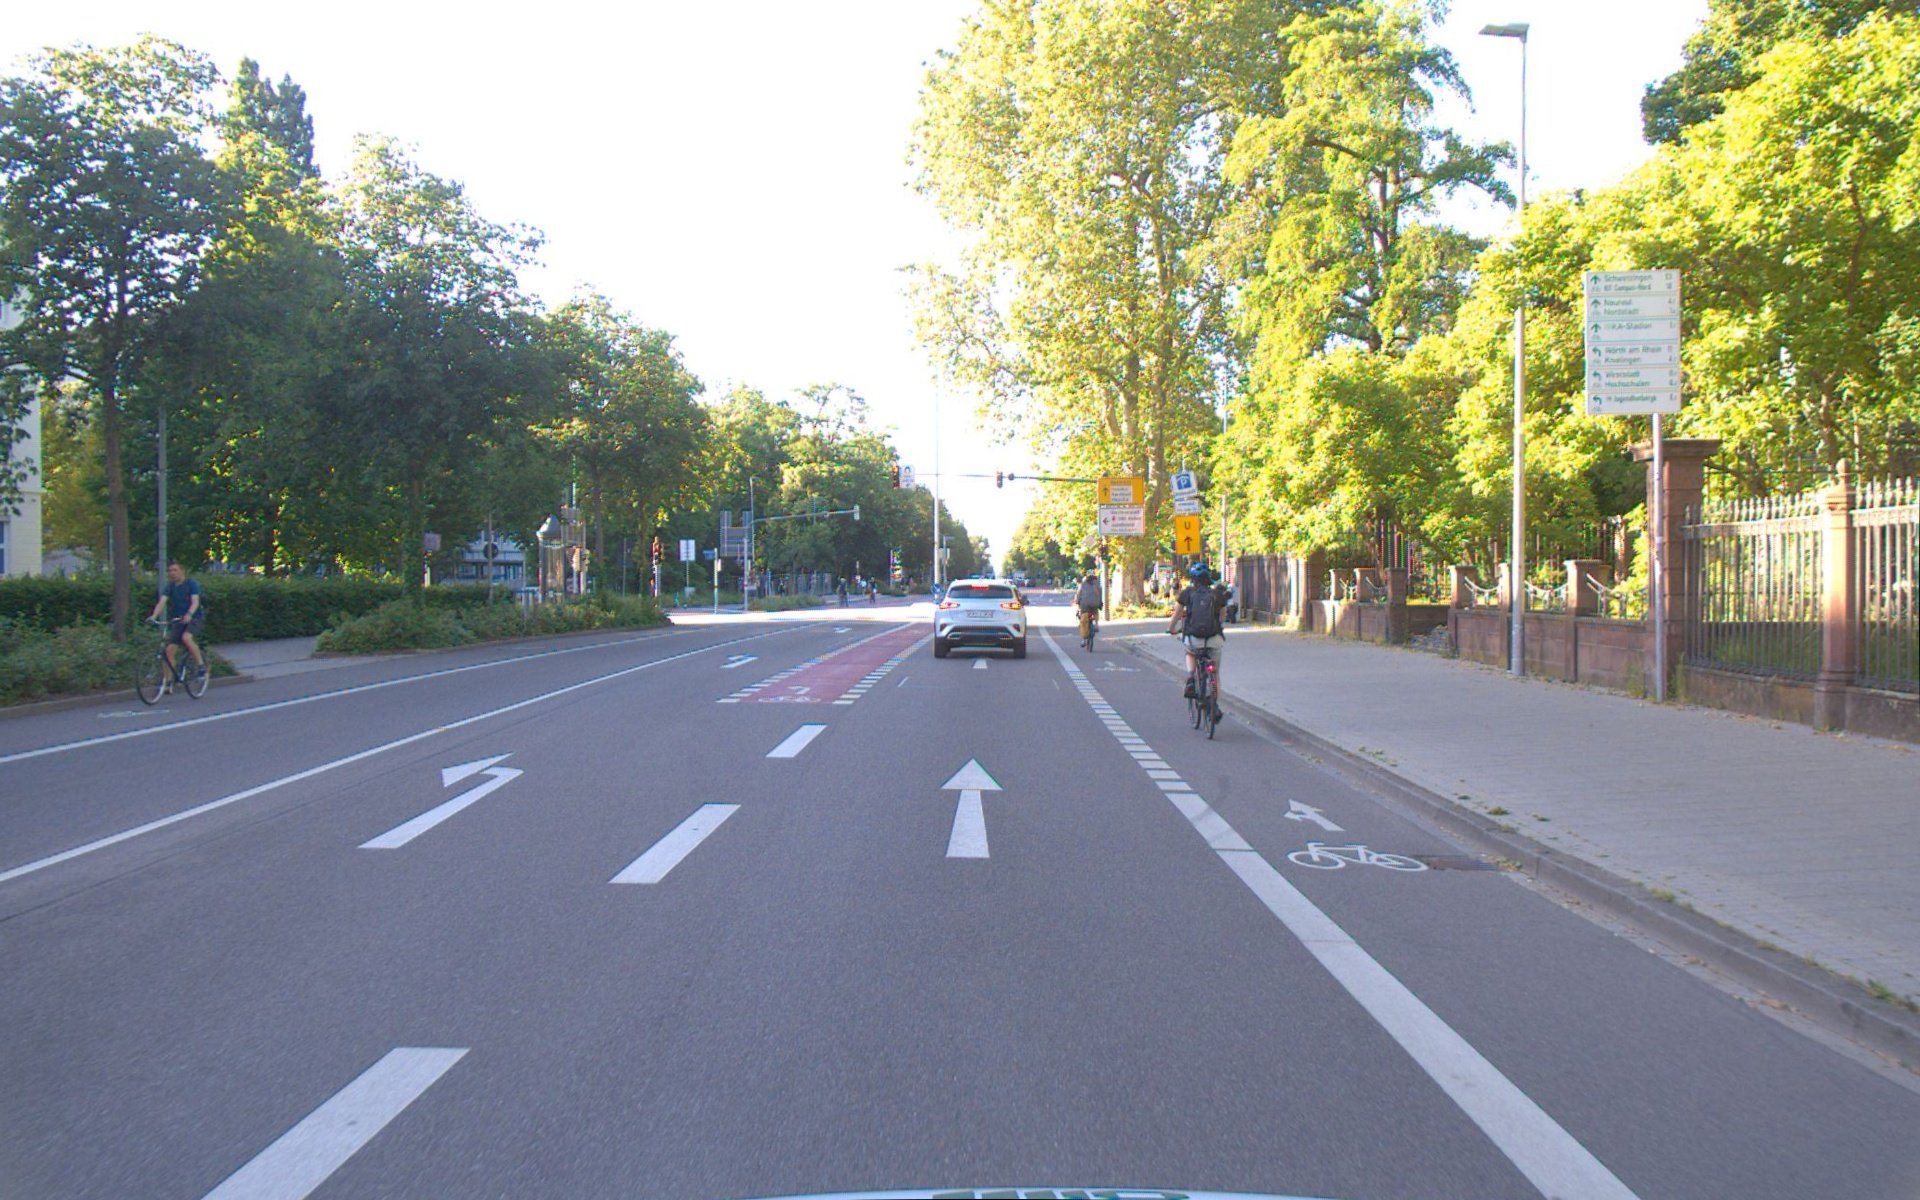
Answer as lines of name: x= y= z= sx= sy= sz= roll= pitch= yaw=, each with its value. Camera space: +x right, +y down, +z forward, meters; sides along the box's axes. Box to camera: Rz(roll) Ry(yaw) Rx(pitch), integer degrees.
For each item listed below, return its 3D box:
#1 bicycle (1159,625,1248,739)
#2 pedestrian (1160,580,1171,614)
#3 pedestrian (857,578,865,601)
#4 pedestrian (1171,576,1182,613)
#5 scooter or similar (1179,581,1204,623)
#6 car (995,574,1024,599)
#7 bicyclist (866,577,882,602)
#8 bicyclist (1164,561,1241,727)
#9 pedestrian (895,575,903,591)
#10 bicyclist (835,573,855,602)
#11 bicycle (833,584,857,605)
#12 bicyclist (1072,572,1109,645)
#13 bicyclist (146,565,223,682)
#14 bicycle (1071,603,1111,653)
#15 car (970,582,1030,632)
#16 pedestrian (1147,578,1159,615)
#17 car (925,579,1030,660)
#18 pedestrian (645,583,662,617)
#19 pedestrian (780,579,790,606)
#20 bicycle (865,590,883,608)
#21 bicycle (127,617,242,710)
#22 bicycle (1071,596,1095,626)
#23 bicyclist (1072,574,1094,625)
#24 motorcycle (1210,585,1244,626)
bicycle: x=2.501 y=0.818 z=17.195 sx=0.630 sy=1.042 sz=2.213 roll=1 pitch=1 yaw=1
pedestrian: x=10.571 y=-0.165 z=85.019 sx=0.472 sy=1.668 sz=0.432 roll=-4 pitch=3 yaw=8
pedestrian: x=-8.857 y=-0.969 z=147.903 sx=0.643 sy=2.049 sz=0.832 roll=-1 pitch=0 yaw=-1
pedestrian: x=11.208 y=-0.286 z=85.603 sx=0.472 sy=1.823 sz=0.432 roll=-3 pitch=4 yaw=8
scooter or similar: x=8.028 y=0.055 z=57.441 sx=0.554 sy=1.407 sz=1.856 roll=-1 pitch=0 yaw=0
car: x=3.333 y=-0.903 z=110.662 sx=1.700 sy=1.573 sz=4.003 roll=-1 pitch=1 yaw=5
bicyclist: x=-6.167 y=-0.759 z=118.619 sx=0.935 sy=1.735 sz=1.233 roll=-1 pitch=0 yaw=3
bicyclist: x=2.493 y=0.430 z=17.083 sx=0.623 sy=1.642 sz=1.284 roll=0 pitch=0 yaw=1
pedestrian: x=-8.547 y=-2.410 z=231.206 sx=0.857 sy=2.187 sz=1.104 roll=-1 pitch=0 yaw=10
bicyclist: x=-7.186 y=-0.805 z=103.326 sx=1.069 sy=1.785 sz=1.098 roll=-1 pitch=0 yaw=3
bicycle: x=-7.179 y=-0.350 z=103.395 sx=1.079 sy=1.277 sz=2.780 roll=-1 pitch=1 yaw=3
bicyclist: x=2.814 y=0.172 z=35.822 sx=0.732 sy=1.564 sz=0.970 roll=0 pitch=0 yaw=1
bicyclist: x=-10.644 y=0.313 z=22.723 sx=0.616 sy=1.549 sz=0.724 roll=-4 pitch=1 yaw=-2
bicycle: x=2.816 y=0.593 z=35.755 sx=0.737 sy=1.044 sz=1.869 roll=0 pitch=0 yaw=1
car: x=1.323 y=0.217 z=55.352 sx=1.889 sy=1.560 sz=4.001 roll=-1 pitch=1 yaw=1
pedestrian: x=9.904 y=-0.196 z=84.876 sx=0.472 sy=1.823 sz=0.432 roll=-3 pitch=4 yaw=8
car: x=0.369 y=0.348 z=33.128 sx=1.952 sy=1.478 sz=4.001 roll=-1 pitch=1 yaw=1
pedestrian: x=-16.727 y=-0.012 z=90.317 sx=0.673 sy=1.823 sz=0.769 roll=-4 pitch=1 yaw=1
pedestrian: x=-12.954 y=-0.560 z=122.445 sx=0.637 sy=1.921 sz=0.663 roll=-1 pitch=0 yaw=3
bicycle: x=-6.160 y=-0.078 z=118.472 sx=0.944 sy=1.201 sz=2.952 roll=-1 pitch=1 yaw=3
bicycle: x=-10.609 y=0.842 z=22.709 sx=0.585 sy=1.140 sz=2.026 roll=-4 pitch=1 yaw=-1
bicycle: x=4.353 y=0.387 z=58.500 sx=0.737 sy=1.044 sz=1.869 roll=0 pitch=0 yaw=1
bicyclist: x=4.352 y=-0.025 z=58.438 sx=0.734 sy=1.780 sz=0.843 roll=0 pitch=0 yaw=1
motorcycle: x=8.161 y=0.166 z=50.660 sx=0.648 sy=1.188 sz=2.328 roll=-3 pitch=0 yaw=1
